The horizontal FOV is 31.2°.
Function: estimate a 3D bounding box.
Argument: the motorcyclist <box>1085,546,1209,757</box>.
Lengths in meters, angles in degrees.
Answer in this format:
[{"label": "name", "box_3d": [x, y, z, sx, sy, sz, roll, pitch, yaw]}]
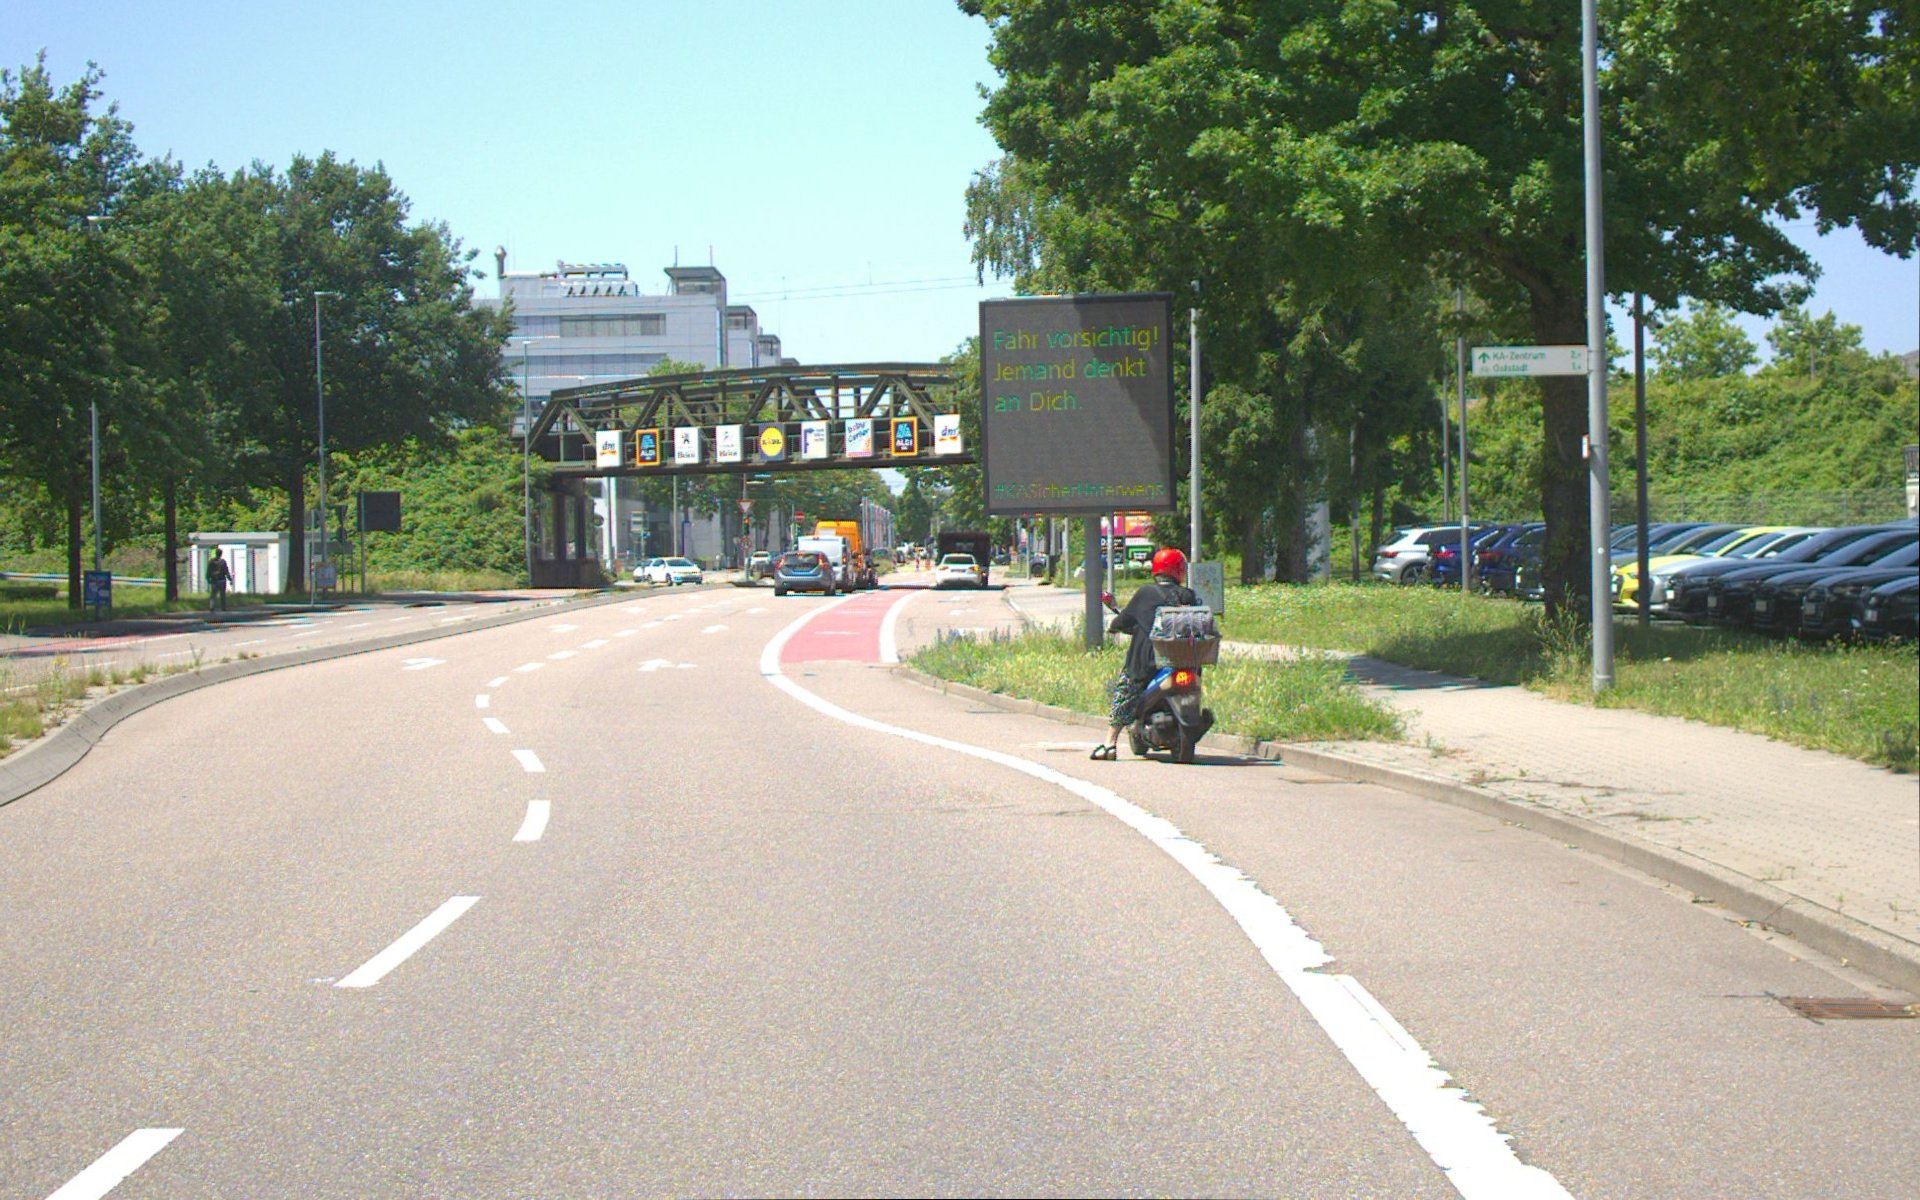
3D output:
[{"label": "motorcyclist", "box_3d": [1.377, 0.370, 25.425, 0.719, 1.524, 0.871, 1, 1, -10]}]

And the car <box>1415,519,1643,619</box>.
[{"label": "car", "box_3d": [10.818, -0.599, 65.512, 3.860, 1.598, 1.798, 4, 1, -4]}]

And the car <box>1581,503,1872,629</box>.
[{"label": "car", "box_3d": [11.643, -0.519, 52.355, 3.860, 1.598, 1.798, 4, 1, -4]}]

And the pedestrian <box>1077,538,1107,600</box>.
[{"label": "pedestrian", "box_3d": [2.931, -0.684, 76.349, 0.623, 1.370, 0.564, -1, 1, -2]}]

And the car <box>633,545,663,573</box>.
[{"label": "car", "box_3d": [-20.217, -2.657, 222.695, 1.715, 1.726, 3.807, -1, 1, -2]}]

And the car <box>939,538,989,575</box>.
[{"label": "car", "box_3d": [0.144, -1.729, 136.292, 1.924, 1.415, 4.000, 0, 1, -1]}]

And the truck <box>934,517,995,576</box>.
[{"label": "truck", "box_3d": [0.167, -2.297, 145.629, 2.458, 2.402, 7.134, 1, 1, 0]}]

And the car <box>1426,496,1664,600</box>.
[{"label": "car", "box_3d": [10.653, -0.949, 62.730, 3.860, 1.598, 1.798, 4, 1, -4]}]

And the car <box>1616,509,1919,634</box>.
[{"label": "car", "box_3d": [11.706, -0.414, 49.888, 3.860, 1.497, 1.798, 4, 1, -4]}]

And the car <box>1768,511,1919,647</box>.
[{"label": "car", "box_3d": [11.522, -0.148, 39.298, 3.986, 1.435, 1.798, 4, 1, -4]}]

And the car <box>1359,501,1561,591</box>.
[{"label": "car", "box_3d": [10.666, -1.151, 73.463, 3.860, 1.598, 1.798, 4, 1, -4]}]

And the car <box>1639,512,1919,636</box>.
[{"label": "car", "box_3d": [11.580, -0.339, 47.217, 3.986, 1.418, 1.798, 4, 1, -4]}]

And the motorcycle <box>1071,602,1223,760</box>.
[{"label": "motorcycle", "box_3d": [1.368, 0.581, 25.465, 0.716, 1.101, 1.831, 1, 1, -10]}]

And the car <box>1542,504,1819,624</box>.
[{"label": "car", "box_3d": [11.463, -0.575, 54.845, 3.860, 1.598, 1.798, 4, 1, -4]}]

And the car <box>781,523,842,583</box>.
[{"label": "car", "box_3d": [-5.098, -1.642, 118.666, 1.993, 2.007, 4.000, 1, 1, -1]}]

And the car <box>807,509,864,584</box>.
[{"label": "car", "box_3d": [-4.888, -2.127, 136.019, 2.072, 2.845, 6.765, -1, 1, -1]}]

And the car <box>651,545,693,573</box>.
[{"label": "car", "box_3d": [-14.764, -2.125, 175.937, 1.993, 1.371, 4.001, -1, 1, -6]}]

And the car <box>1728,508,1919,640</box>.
[{"label": "car", "box_3d": [11.603, -0.242, 41.765, 3.986, 1.435, 1.798, 4, 1, -4]}]

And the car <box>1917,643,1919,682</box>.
[{"label": "car", "box_3d": [11.601, 0.192, 33.470, 3.916, 1.576, 1.798, 4, 1, -4]}]

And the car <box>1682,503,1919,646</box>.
[{"label": "car", "box_3d": [11.599, -0.282, 44.420, 3.986, 1.619, 1.798, 4, 1, -4]}]

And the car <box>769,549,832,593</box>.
[{"label": "car", "box_3d": [-5.114, -0.949, 110.855, 1.900, 1.371, 4.232, -1, 1, -1]}]

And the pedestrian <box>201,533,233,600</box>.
[{"label": "pedestrian", "box_3d": [-21.077, -0.954, 97.475, 0.743, 1.877, 0.577, -1, 1, 1]}]

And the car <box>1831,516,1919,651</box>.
[{"label": "car", "box_3d": [11.547, -0.049, 36.521, 3.986, 1.372, 1.798, 4, 1, -4]}]
